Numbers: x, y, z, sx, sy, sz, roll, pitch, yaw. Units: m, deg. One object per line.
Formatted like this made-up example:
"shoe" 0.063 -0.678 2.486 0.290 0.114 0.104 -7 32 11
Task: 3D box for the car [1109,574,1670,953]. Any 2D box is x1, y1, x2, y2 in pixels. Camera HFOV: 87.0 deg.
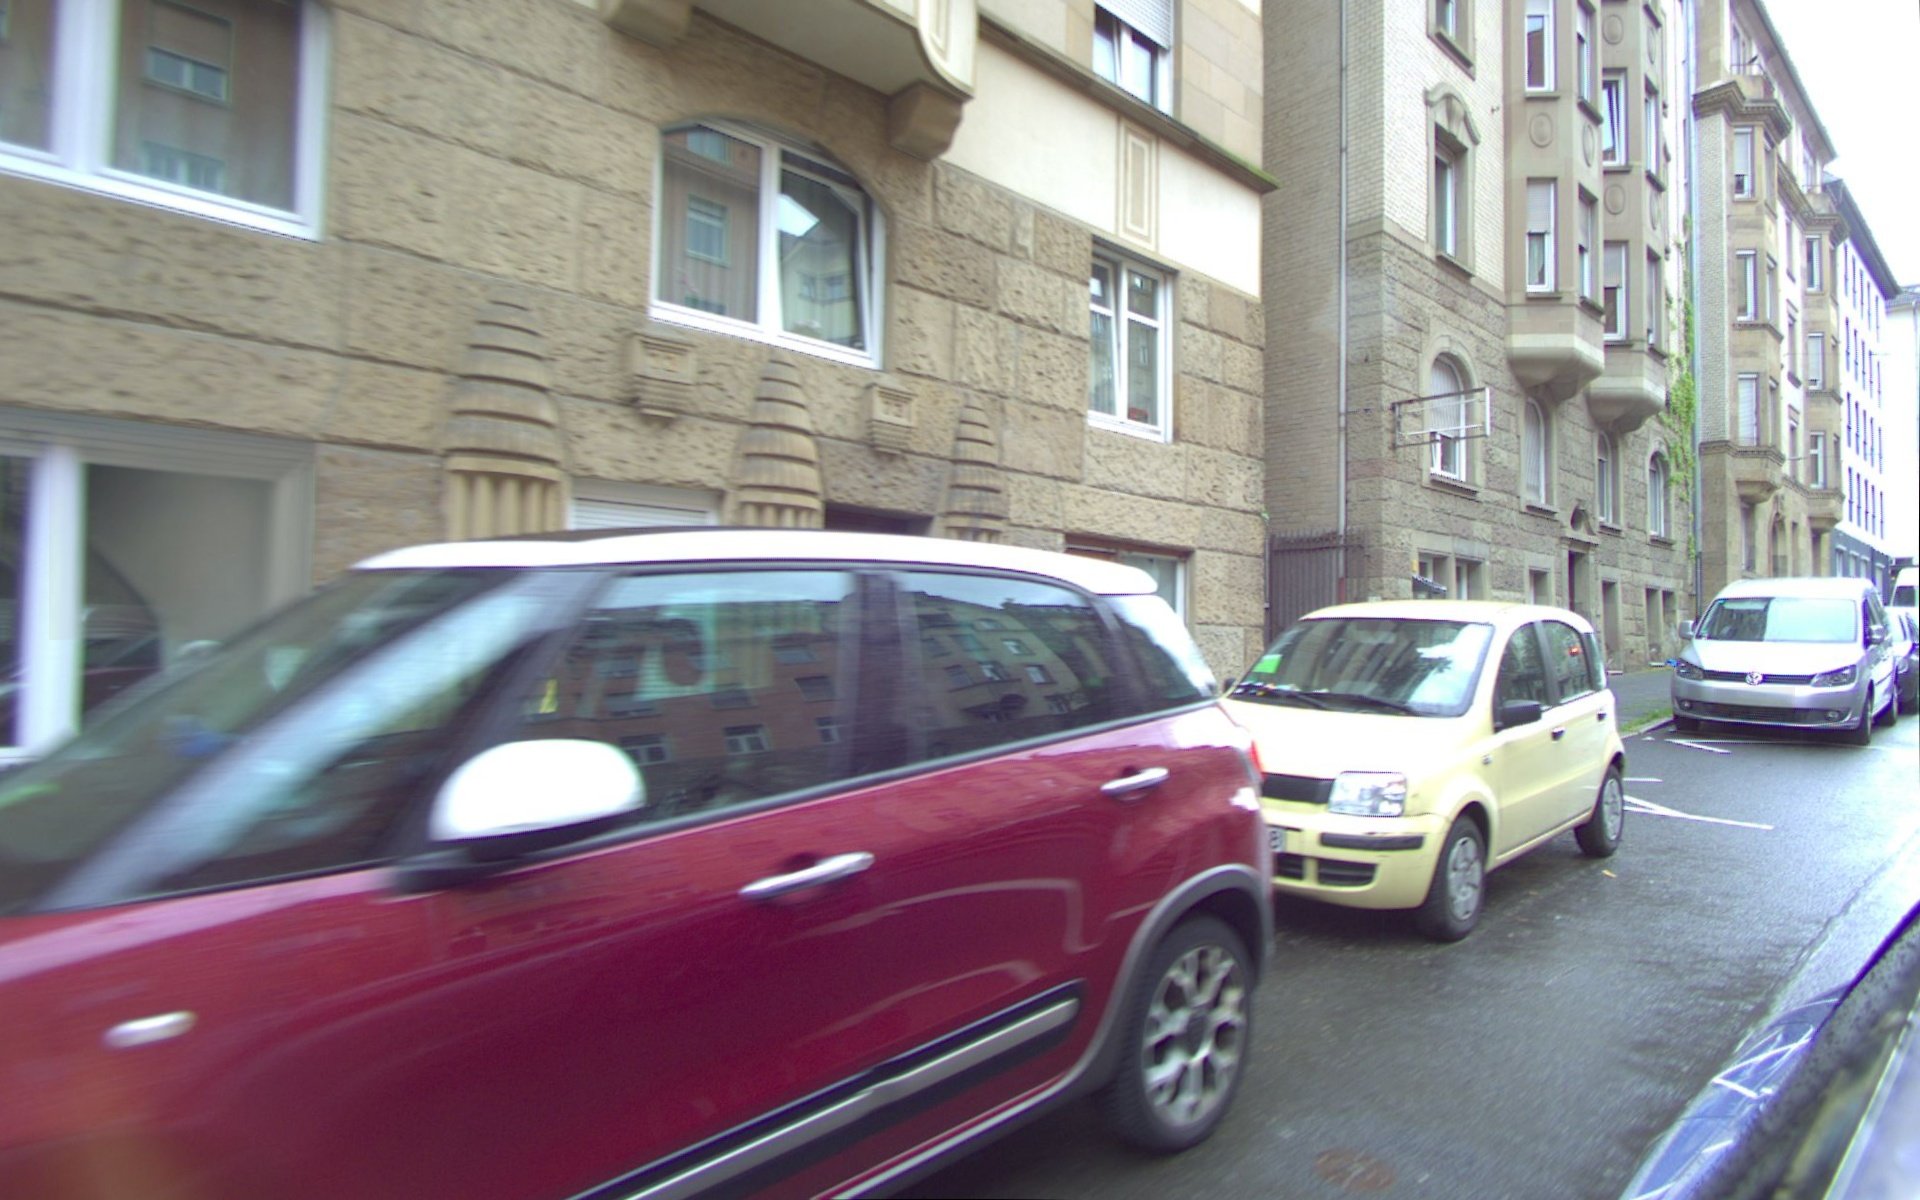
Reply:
"car" 2.568 0.663 5.728 3.400 1.497 1.561 0 -2 -41

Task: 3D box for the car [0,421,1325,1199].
"car" -0.883 0.645 2.432 3.933 1.649 1.712 0 -2 -43

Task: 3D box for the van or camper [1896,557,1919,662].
"van or camper" 25.526 0.182 25.594 6.012 2.500 2.068 -1 0 -41

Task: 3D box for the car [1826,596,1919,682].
"car" 17.111 0.658 18.312 3.931 1.429 1.678 0 -2 -42

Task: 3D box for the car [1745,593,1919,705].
"car" 13.572 0.638 15.338 3.932 1.459 1.996 -1 0 -42

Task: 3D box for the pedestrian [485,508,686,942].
"pedestrian" -1.731 0.511 4.635 0.598 1.755 0.863 0 -2 -40

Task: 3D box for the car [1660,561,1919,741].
"car" 10.144 0.510 12.217 4.284 1.799 1.777 0 0 -41
